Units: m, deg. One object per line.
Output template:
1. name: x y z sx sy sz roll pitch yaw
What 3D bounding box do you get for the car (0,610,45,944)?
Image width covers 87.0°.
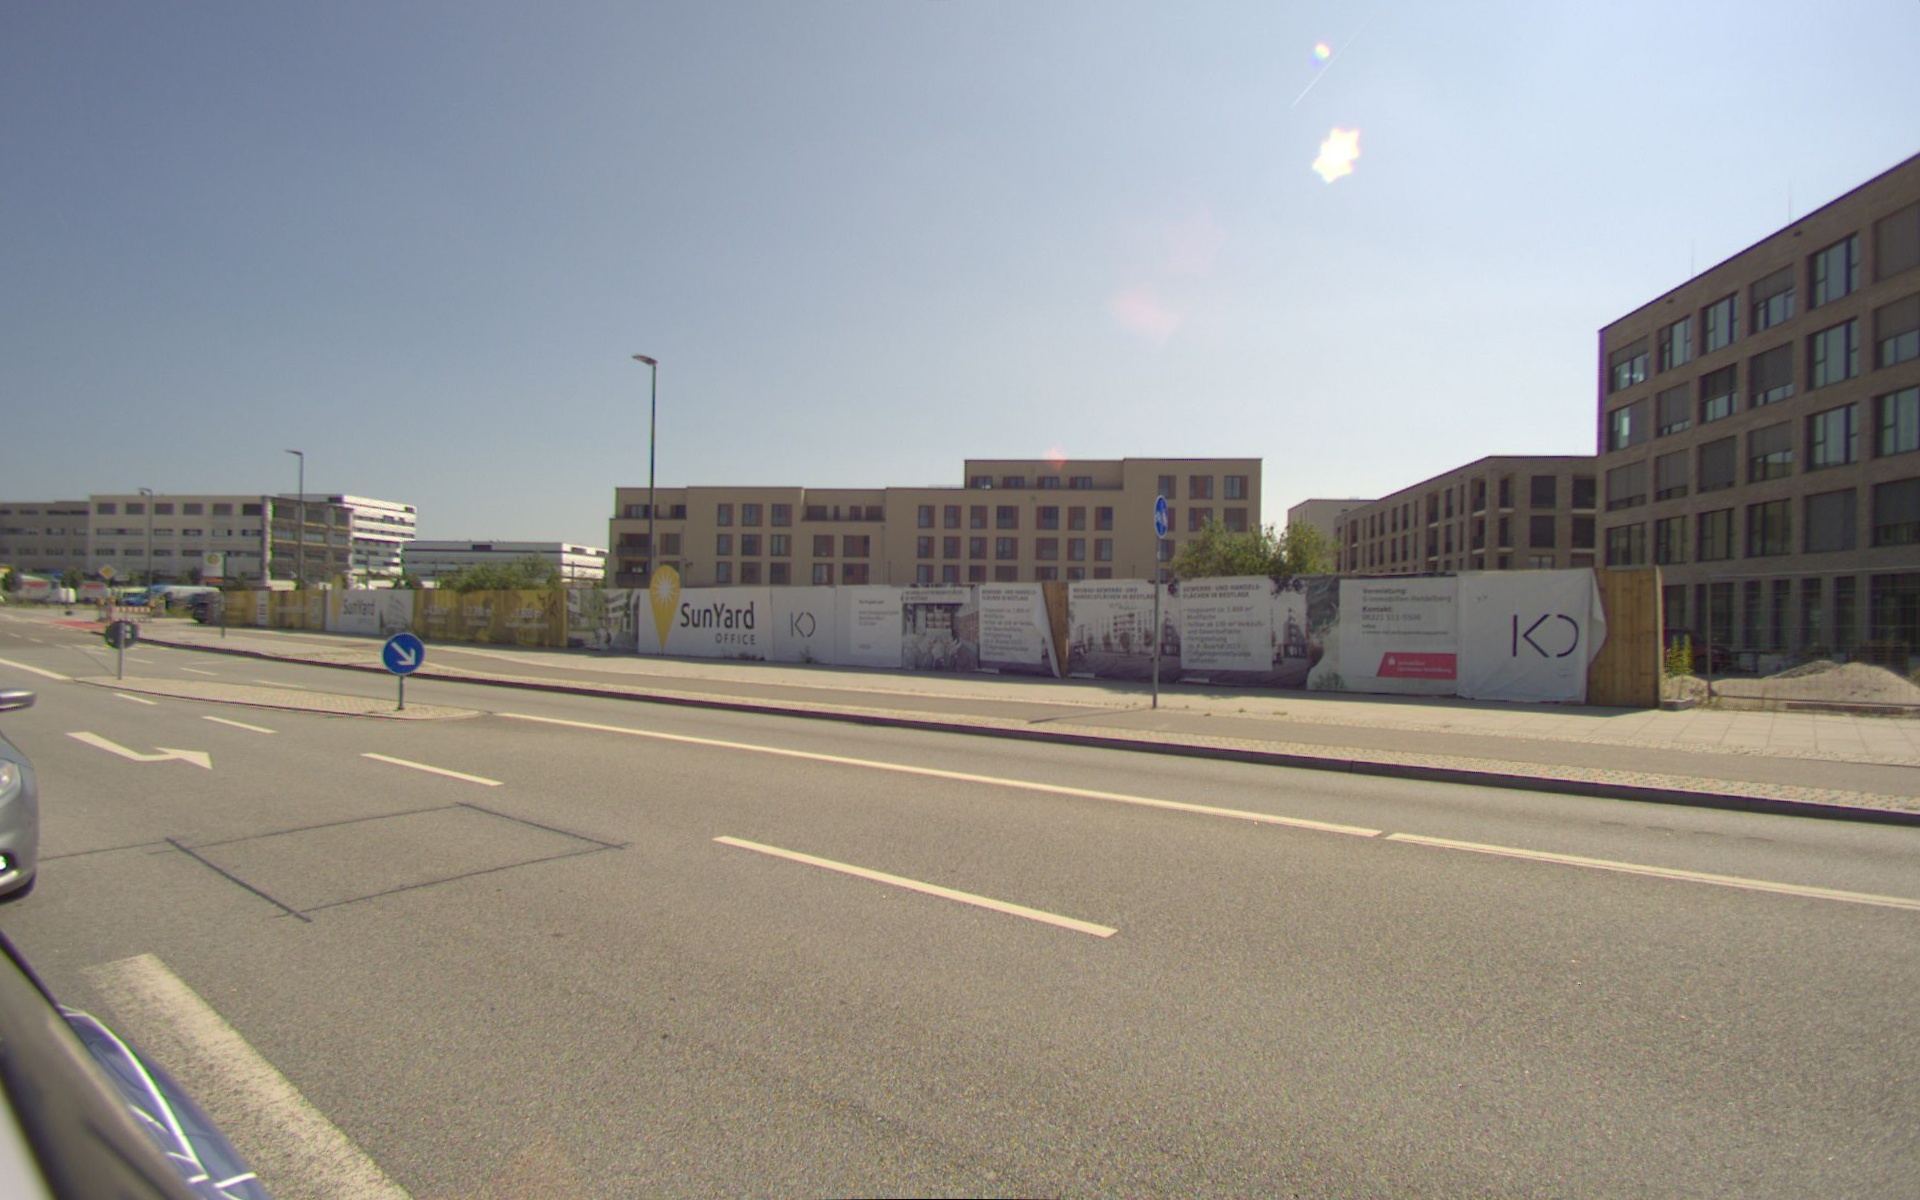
1. car: -6.373 0.794 5.354 4.345 1.478 1.796 -1 -1 41

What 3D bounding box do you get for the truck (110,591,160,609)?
1. truck: -120.219 -0.057 147.563 1.998 2.494 5.346 0 1 38

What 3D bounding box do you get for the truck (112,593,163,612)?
1. truck: -114.889 0.311 141.395 1.996 2.494 5.270 0 1 36

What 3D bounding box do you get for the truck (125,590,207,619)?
1. truck: -72.499 0.394 92.456 1.996 2.494 5.567 0 1 36

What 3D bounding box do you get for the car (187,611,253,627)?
1. car: -48.405 1.212 66.267 1.293 0.960 3.315 0 1 43

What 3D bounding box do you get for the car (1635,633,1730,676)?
1. car: 32.024 2.395 44.972 1.814 1.666 3.772 0 0 7

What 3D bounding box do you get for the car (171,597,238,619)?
1. car: -60.290 0.610 80.789 1.888 1.731 3.885 0 1 35

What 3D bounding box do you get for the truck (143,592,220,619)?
1. truck: -67.107 0.432 87.315 1.998 2.245 4.942 0 1 39
